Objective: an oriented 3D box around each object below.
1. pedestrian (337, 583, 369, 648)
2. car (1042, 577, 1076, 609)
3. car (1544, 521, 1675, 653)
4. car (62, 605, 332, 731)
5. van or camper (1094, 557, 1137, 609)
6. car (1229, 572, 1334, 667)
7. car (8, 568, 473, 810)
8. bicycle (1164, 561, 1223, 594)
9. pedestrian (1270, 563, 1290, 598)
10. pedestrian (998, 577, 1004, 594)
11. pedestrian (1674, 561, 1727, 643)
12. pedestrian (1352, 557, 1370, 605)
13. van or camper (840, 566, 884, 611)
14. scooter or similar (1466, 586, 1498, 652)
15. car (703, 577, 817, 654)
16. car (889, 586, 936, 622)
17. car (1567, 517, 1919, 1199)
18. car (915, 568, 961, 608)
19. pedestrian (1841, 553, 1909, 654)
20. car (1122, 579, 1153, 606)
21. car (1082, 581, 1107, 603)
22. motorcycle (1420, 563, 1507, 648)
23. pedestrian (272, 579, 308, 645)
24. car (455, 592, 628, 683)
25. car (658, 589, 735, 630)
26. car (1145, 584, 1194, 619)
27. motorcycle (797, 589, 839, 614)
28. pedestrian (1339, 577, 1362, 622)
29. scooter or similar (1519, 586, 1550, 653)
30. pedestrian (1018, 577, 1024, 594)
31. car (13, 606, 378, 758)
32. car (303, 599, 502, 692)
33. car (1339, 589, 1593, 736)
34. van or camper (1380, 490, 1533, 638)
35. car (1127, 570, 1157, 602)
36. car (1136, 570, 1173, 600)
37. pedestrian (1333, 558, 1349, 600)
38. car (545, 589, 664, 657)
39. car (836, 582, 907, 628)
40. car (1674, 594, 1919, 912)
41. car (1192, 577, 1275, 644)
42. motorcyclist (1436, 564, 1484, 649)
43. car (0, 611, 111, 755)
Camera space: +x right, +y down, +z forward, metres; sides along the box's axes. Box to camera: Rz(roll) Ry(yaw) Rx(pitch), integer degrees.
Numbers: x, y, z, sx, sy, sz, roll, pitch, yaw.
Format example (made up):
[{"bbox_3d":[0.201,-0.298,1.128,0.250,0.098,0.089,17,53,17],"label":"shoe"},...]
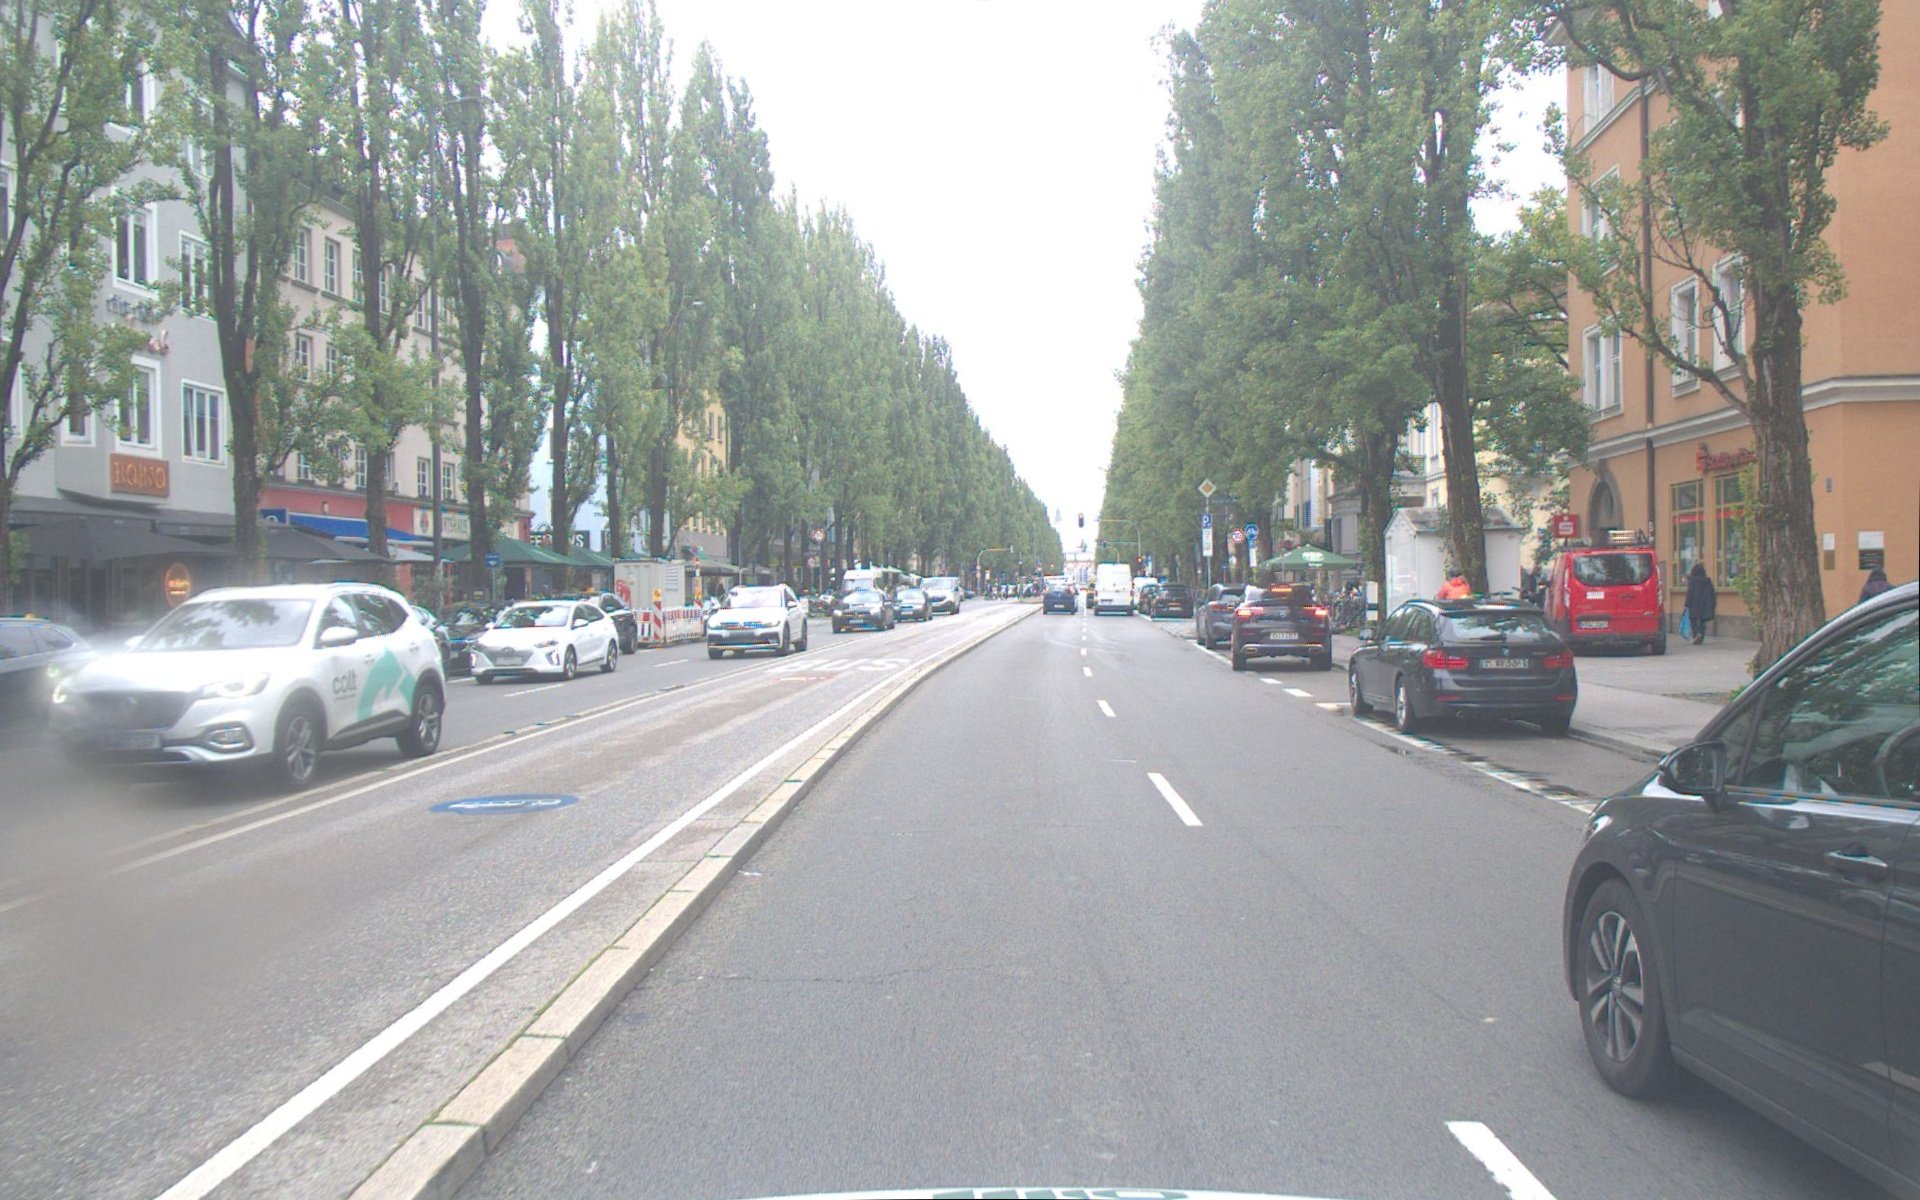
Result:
[{"bbox_3d":[-18.059,0.448,49.207,0.625,1.894,0.648,-2,0,4],"label":"pedestrian"},{"bbox_3d":[5.172,-0.343,86.039,1.722,1.648,3.749,0,0,4],"label":"car"},{"bbox_3d":[12.760,-0.279,32.761,1.861,2.368,4.828,-2,1,16],"label":"car"},{"bbox_3d":[-10.913,0.912,23.992,1.766,1.545,4.003,-2,1,4],"label":"car"},{"bbox_3d":[7.878,-0.852,84.034,1.992,2.519,4.002,-1,-1,4],"label":"van or camper"},{"bbox_3d":[6.245,0.313,32.080,1.840,1.670,4.587,-1,1,11],"label":"car"},{"bbox_3d":[-6.023,0.630,14.561,1.821,1.741,4.538,-2,1,4],"label":"car"},{"bbox_3d":[14.330,-1.373,101.476,3.473,2.049,1.298,0,0,13],"label":"bicycle"},{"bbox_3d":[16.349,-1.001,84.433,0.796,1.786,0.933,-2,0,0],"label":"pedestrian"},{"bbox_3d":[4.202,-1.474,169.450,0.541,1.746,0.493,-2,0,5],"label":"pedestrian"},{"bbox_3d":[15.269,0.044,34.106,0.714,1.654,0.805,-2,0,2],"label":"pedestrian"},{"bbox_3d":[16.201,-0.756,66.846,0.686,1.905,0.766,0,0,13],"label":"pedestrian"},{"bbox_3d":[-5.595,-0.671,94.965,1.952,2.501,4.253,-1,1,4],"label":"van or camper"},{"bbox_3d":[10.497,0.368,33.287,0.514,1.254,1.478,-3,0,16],"label":"scooter or similar"},{"bbox_3d":[-4.694,0.329,39.435,1.899,1.671,4.466,-2,1,3],"label":"car"},{"bbox_3d":[-2.015,0.150,71.512,1.676,1.438,3.725,-1,1,3],"label":"car"},{"bbox_3d":[2.910,0.640,3.501,1.725,1.642,4.184,0,0,0],"label":"car"},{"bbox_3d":[-1.123,-0.620,87.382,1.952,1.967,4.920,-3,0,4],"label":"car"},{"bbox_3d":[14.675,0.055,26.533,0.597,1.578,0.709,-3,1,-24],"label":"pedestrian"},{"bbox_3d":[10.911,-0.430,101.585,1.725,1.624,4.002,0,0,4],"label":"car"},{"bbox_3d":[8.552,-0.523,105.337,1.472,1.336,3.285,-1,1,4],"label":"car"},{"bbox_3d":[8.714,0.083,28.722,0.809,1.394,2.253,-2,1,0],"label":"motorcycle"},{"bbox_3d":[-17.965,0.309,44.379,0.625,1.729,0.648,-2,0,4],"label":"pedestrian"},{"bbox_3d":[-7.885,0.658,31.615,1.899,1.519,4.459,-2,1,3],"label":"car"},{"bbox_3d":[-8.721,0.295,55.034,1.772,1.272,3.702,-1,1,3],"label":"car"},{"bbox_3d":[9.532,0.032,75.462,1.903,1.493,4.002,-1,1,3],"label":"car"},{"bbox_3d":[-7.017,0.077,82.009,1.211,1.160,3.720,-1,1,9],"label":"motorcycle"},{"bbox_3d":[14.793,-0.028,62.640,0.656,1.679,0.624,-1,0,31],"label":"pedestrian"},{"bbox_3d":[11.392,0.378,32.803,0.475,1.254,1.168,-3,0,16],"label":"scooter or similar"},{"bbox_3d":[6.219,-1.461,169.195,0.541,1.746,0.493,-2,0,5],"label":"pedestrian"},{"bbox_3d":[-8.818,0.875,19.596,1.898,1.459,4.541,-2,1,4],"label":"car"},{"bbox_3d":[-10.372,0.799,31.141,1.951,1.508,4.323,-2,1,5],"label":"car"},{"bbox_3d":[5.676,0.627,19.125,1.697,1.418,4.434,-2,1,2],"label":"car"},{"bbox_3d":[11.483,-0.816,38.601,2.408,3.166,4.718,-2,1,5],"label":"van or camper"},{"bbox_3d":[11.797,-0.868,107.581,1.767,2.027,4.002,0,0,4],"label":"car"},{"bbox_3d":[10.579,-0.802,90.154,1.767,1.624,4.002,0,0,4],"label":"car"},{"bbox_3d":[15.411,-0.842,66.924,0.634,1.675,0.766,0,0,13],"label":"pedestrian"},{"bbox_3d":[-9.283,0.559,43.562,1.809,1.591,4.336,-1,1,5],"label":"car"},{"bbox_3d":[-3.102,0.142,59.051,1.952,1.457,4.775,-2,1,4],"label":"car"},{"bbox_3d":[5.441,0.730,8.344,1.809,1.453,4.426,-1,1,1],"label":"car"},{"bbox_3d":[6.885,0.221,41.989,1.589,1.592,4.373,-1,1,3],"label":"car"},{"bbox_3d":[8.671,0.106,28.695,0.552,1.431,0.766,-2,0,0],"label":"motorcyclist"},{"bbox_3d":[-11.409,0.959,17.926,1.898,1.519,4.298,-2,1,5],"label":"car"}]
